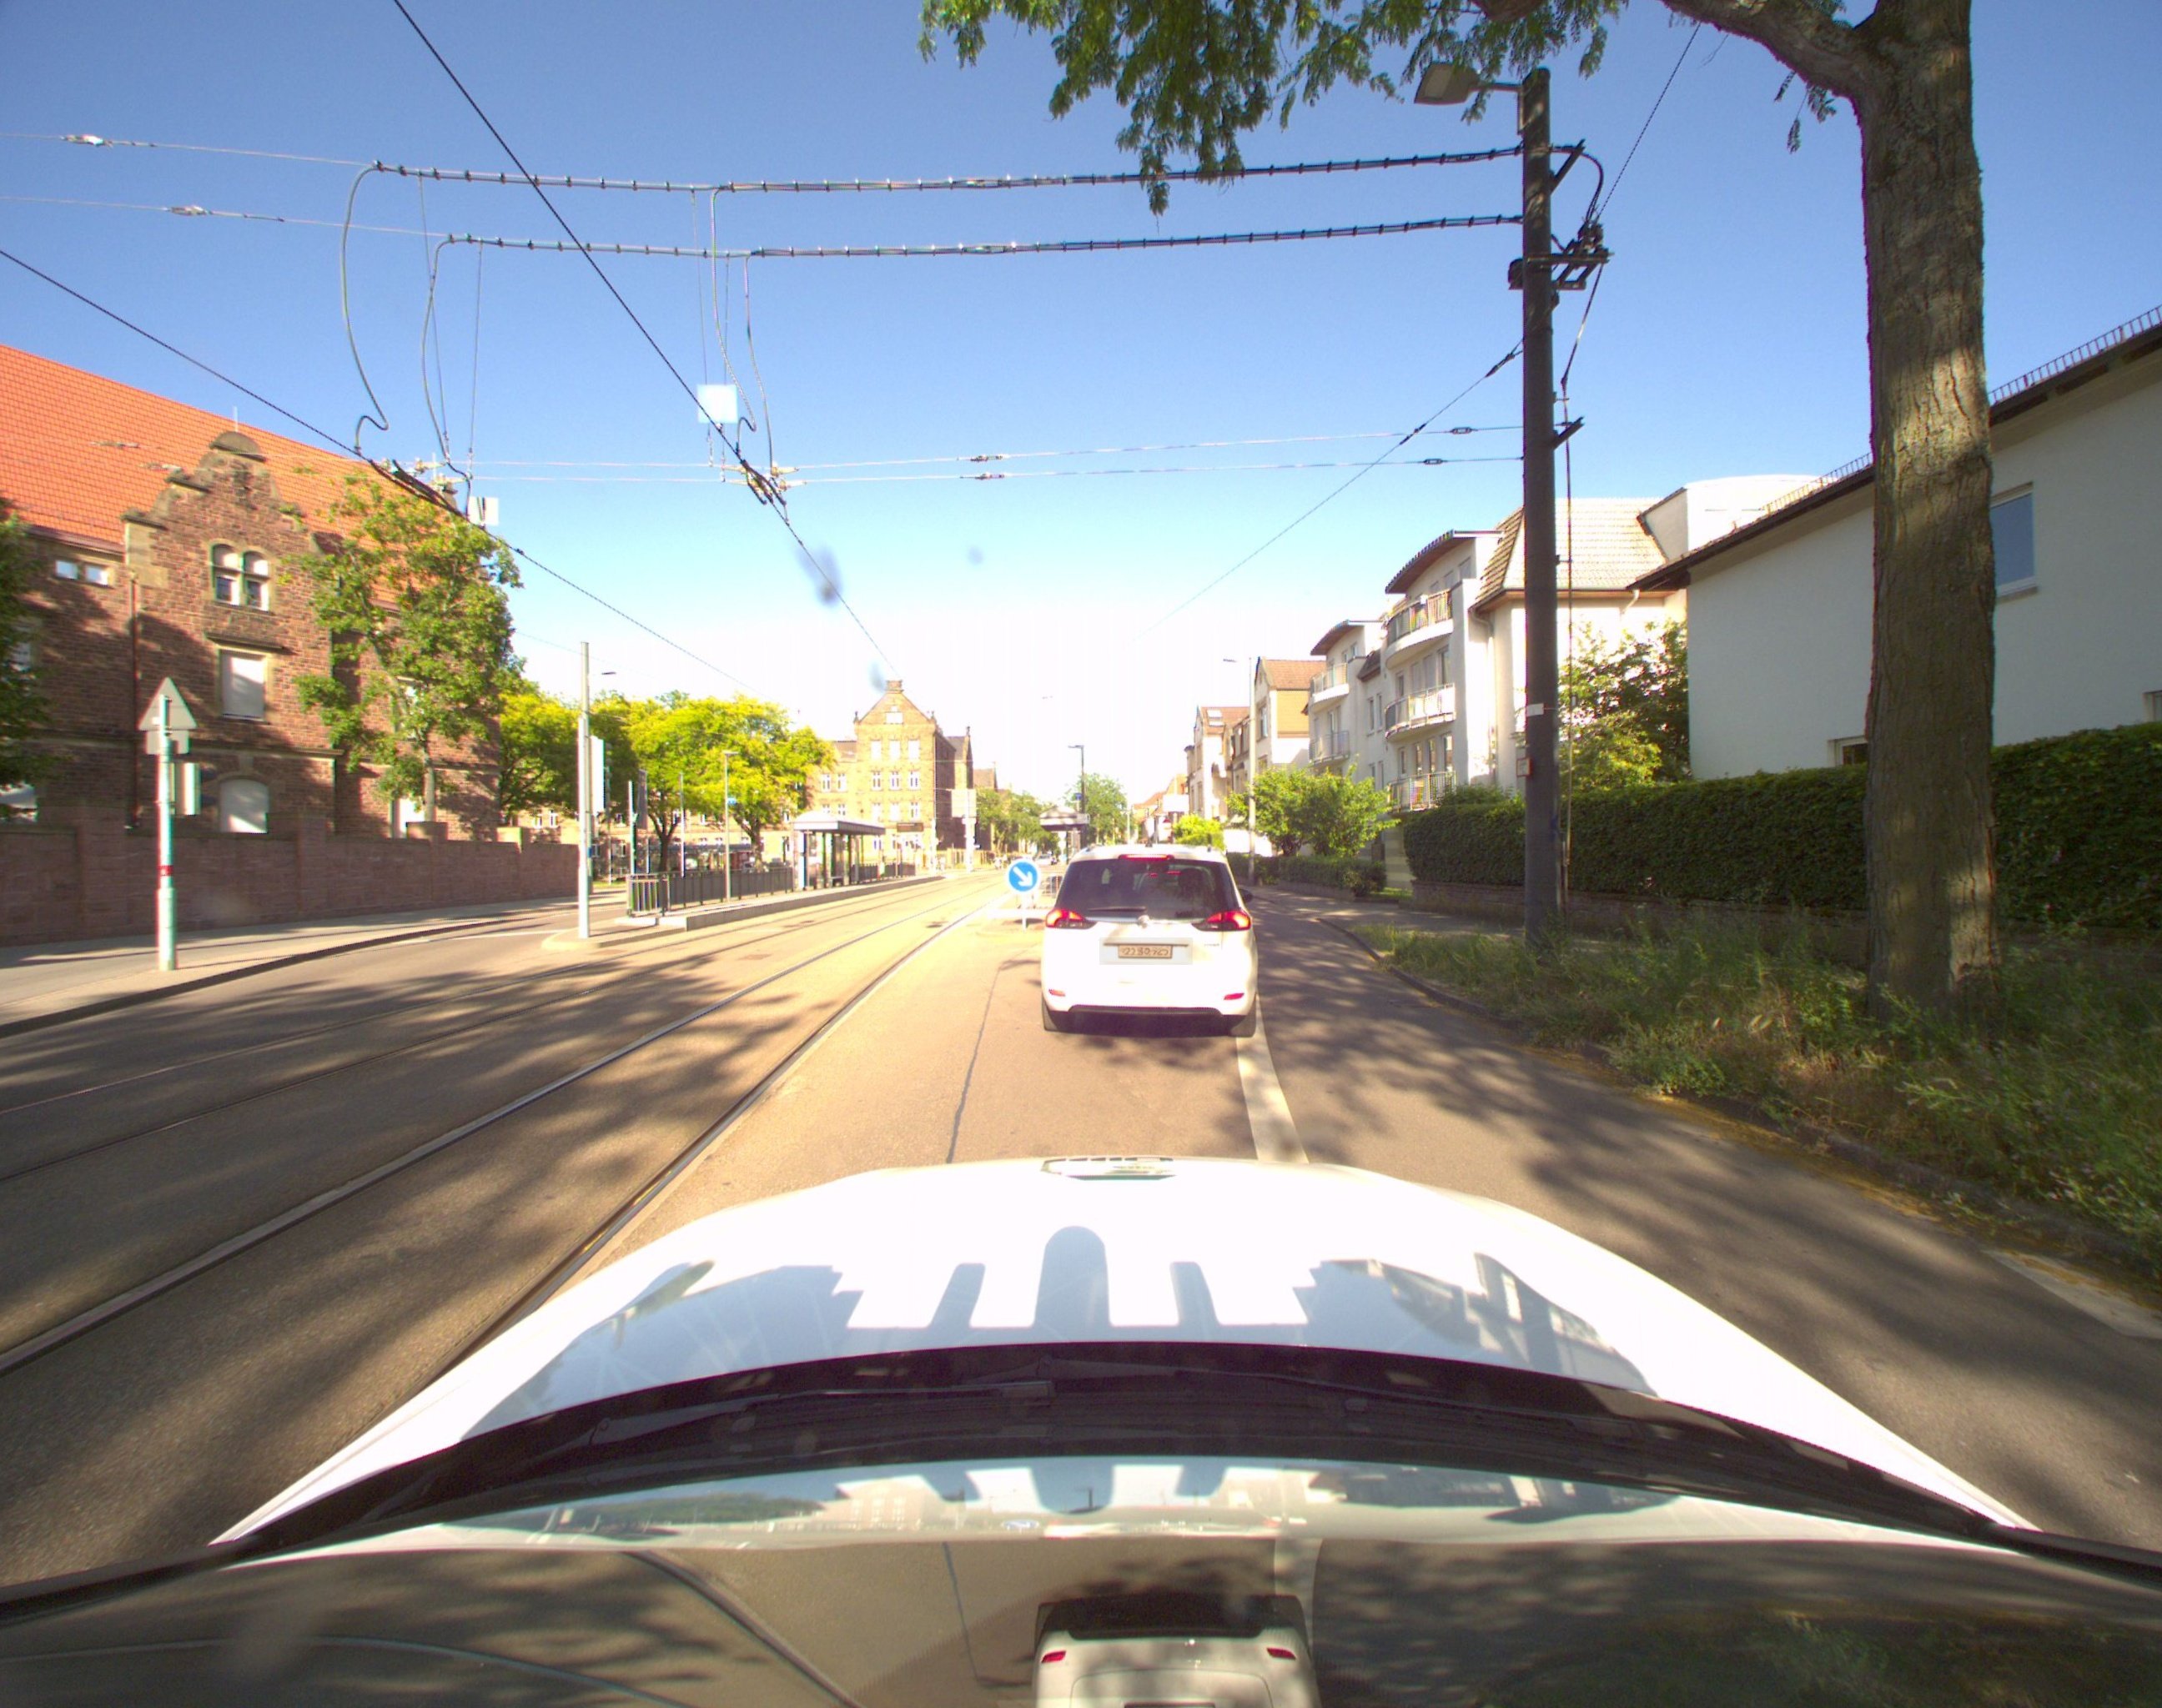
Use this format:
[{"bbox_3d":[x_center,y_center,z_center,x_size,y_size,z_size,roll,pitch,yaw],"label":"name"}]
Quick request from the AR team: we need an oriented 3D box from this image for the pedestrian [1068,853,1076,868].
[{"bbox_3d":[-1.118,0.788,100.205,0.744,1.901,0.804,0,-1,-22],"label":"pedestrian"}]

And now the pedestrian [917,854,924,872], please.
[{"bbox_3d":[-17.801,0.965,90.349,0.686,2.014,0.619,0,-1,7],"label":"pedestrian"}]

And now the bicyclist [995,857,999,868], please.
[{"bbox_3d":[-10.669,1.048,103.407,0.312,1.444,0.384,-1,0,1],"label":"bicyclist"}]

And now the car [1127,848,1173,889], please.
[{"bbox_3d":[2.998,0.611,36.182,1.899,1.661,4.003,-1,0,3],"label":"car"}]

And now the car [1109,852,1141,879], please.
[{"bbox_3d":[2.844,0.745,53.175,1.901,1.661,4.000,-1,0,0],"label":"car"}]

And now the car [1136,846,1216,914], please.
[{"bbox_3d":[2.621,0.632,21.682,1.896,1.624,4.010,-1,0,9],"label":"car"}]

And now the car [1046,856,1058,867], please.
[{"bbox_3d":[-4.599,1.172,129.390,1.740,1.716,4.001,0,-1,2],"label":"car"}]

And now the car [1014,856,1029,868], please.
[{"bbox_3d":[-8.326,1.107,114.112,1.740,1.716,4.001,0,-1,2],"label":"car"}]

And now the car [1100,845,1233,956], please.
[{"bbox_3d":[1.560,0.682,13.861,1.896,1.597,4.010,-1,0,9],"label":"car"}]

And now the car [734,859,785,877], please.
[{"bbox_3d":[-29.650,1.306,75.208,3.976,1.630,1.817,0,-1,-2],"label":"car"}]

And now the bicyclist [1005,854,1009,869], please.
[{"bbox_3d":[-10.202,0.990,112.010,0.486,2.014,0.502,0,-1,1],"label":"bicyclist"}]

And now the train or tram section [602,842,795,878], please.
[{"bbox_3d":[-37.841,0.567,81.141,17.346,3.154,3.344,-1,-1,-3],"label":"train or tram section"}]

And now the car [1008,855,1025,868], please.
[{"bbox_3d":[-8.497,1.021,107.400,1.740,1.716,4.001,0,-1,2],"label":"car"}]

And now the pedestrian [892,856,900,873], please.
[{"bbox_3d":[-19.650,1.153,86.371,0.768,1.774,0.717,0,-1,-15],"label":"pedestrian"}]

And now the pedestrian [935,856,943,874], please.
[{"bbox_3d":[-15.438,1.178,88.599,0.795,2.014,1.042,0,-1,-12],"label":"pedestrian"}]

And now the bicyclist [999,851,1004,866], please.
[{"bbox_3d":[-10.681,0.647,109.471,0.496,2.013,0.572,-1,0,1],"label":"bicyclist"}]

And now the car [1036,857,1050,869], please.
[{"bbox_3d":[-5.367,1.278,115.544,1.740,1.716,4.001,0,-1,2],"label":"car"}]

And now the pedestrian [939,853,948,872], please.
[{"bbox_3d":[-15.191,0.927,89.886,0.798,2.014,0.715,0,-1,-21],"label":"pedestrian"}]

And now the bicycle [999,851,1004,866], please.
[{"bbox_3d":[-10.681,0.647,109.474,0.485,2.013,1.406,-1,0,2],"label":"bicycle"}]

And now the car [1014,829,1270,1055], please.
[{"bbox_3d":[0.756,0.659,8.110,1.896,1.661,4.010,-1,0,9],"label":"car"}]

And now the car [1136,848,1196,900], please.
[{"bbox_3d":[2.977,0.647,28.338,1.897,1.661,4.007,-1,0,6],"label":"car"}]

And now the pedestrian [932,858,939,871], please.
[{"bbox_3d":[-17.169,1.247,95.915,0.651,1.612,0.712,0,-1,4],"label":"pedestrian"}]

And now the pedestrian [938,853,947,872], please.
[{"bbox_3d":[-14.548,0.859,85.508,0.796,2.014,0.717,0,-1,-15],"label":"pedestrian"}]

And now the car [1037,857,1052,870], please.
[{"bbox_3d":[-4.741,1.238,106.520,1.740,1.716,4.001,0,-1,2],"label":"car"}]

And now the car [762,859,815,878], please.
[{"bbox_3d":[-25.443,1.230,70.965,3.976,1.630,1.817,0,-1,-2],"label":"car"}]
